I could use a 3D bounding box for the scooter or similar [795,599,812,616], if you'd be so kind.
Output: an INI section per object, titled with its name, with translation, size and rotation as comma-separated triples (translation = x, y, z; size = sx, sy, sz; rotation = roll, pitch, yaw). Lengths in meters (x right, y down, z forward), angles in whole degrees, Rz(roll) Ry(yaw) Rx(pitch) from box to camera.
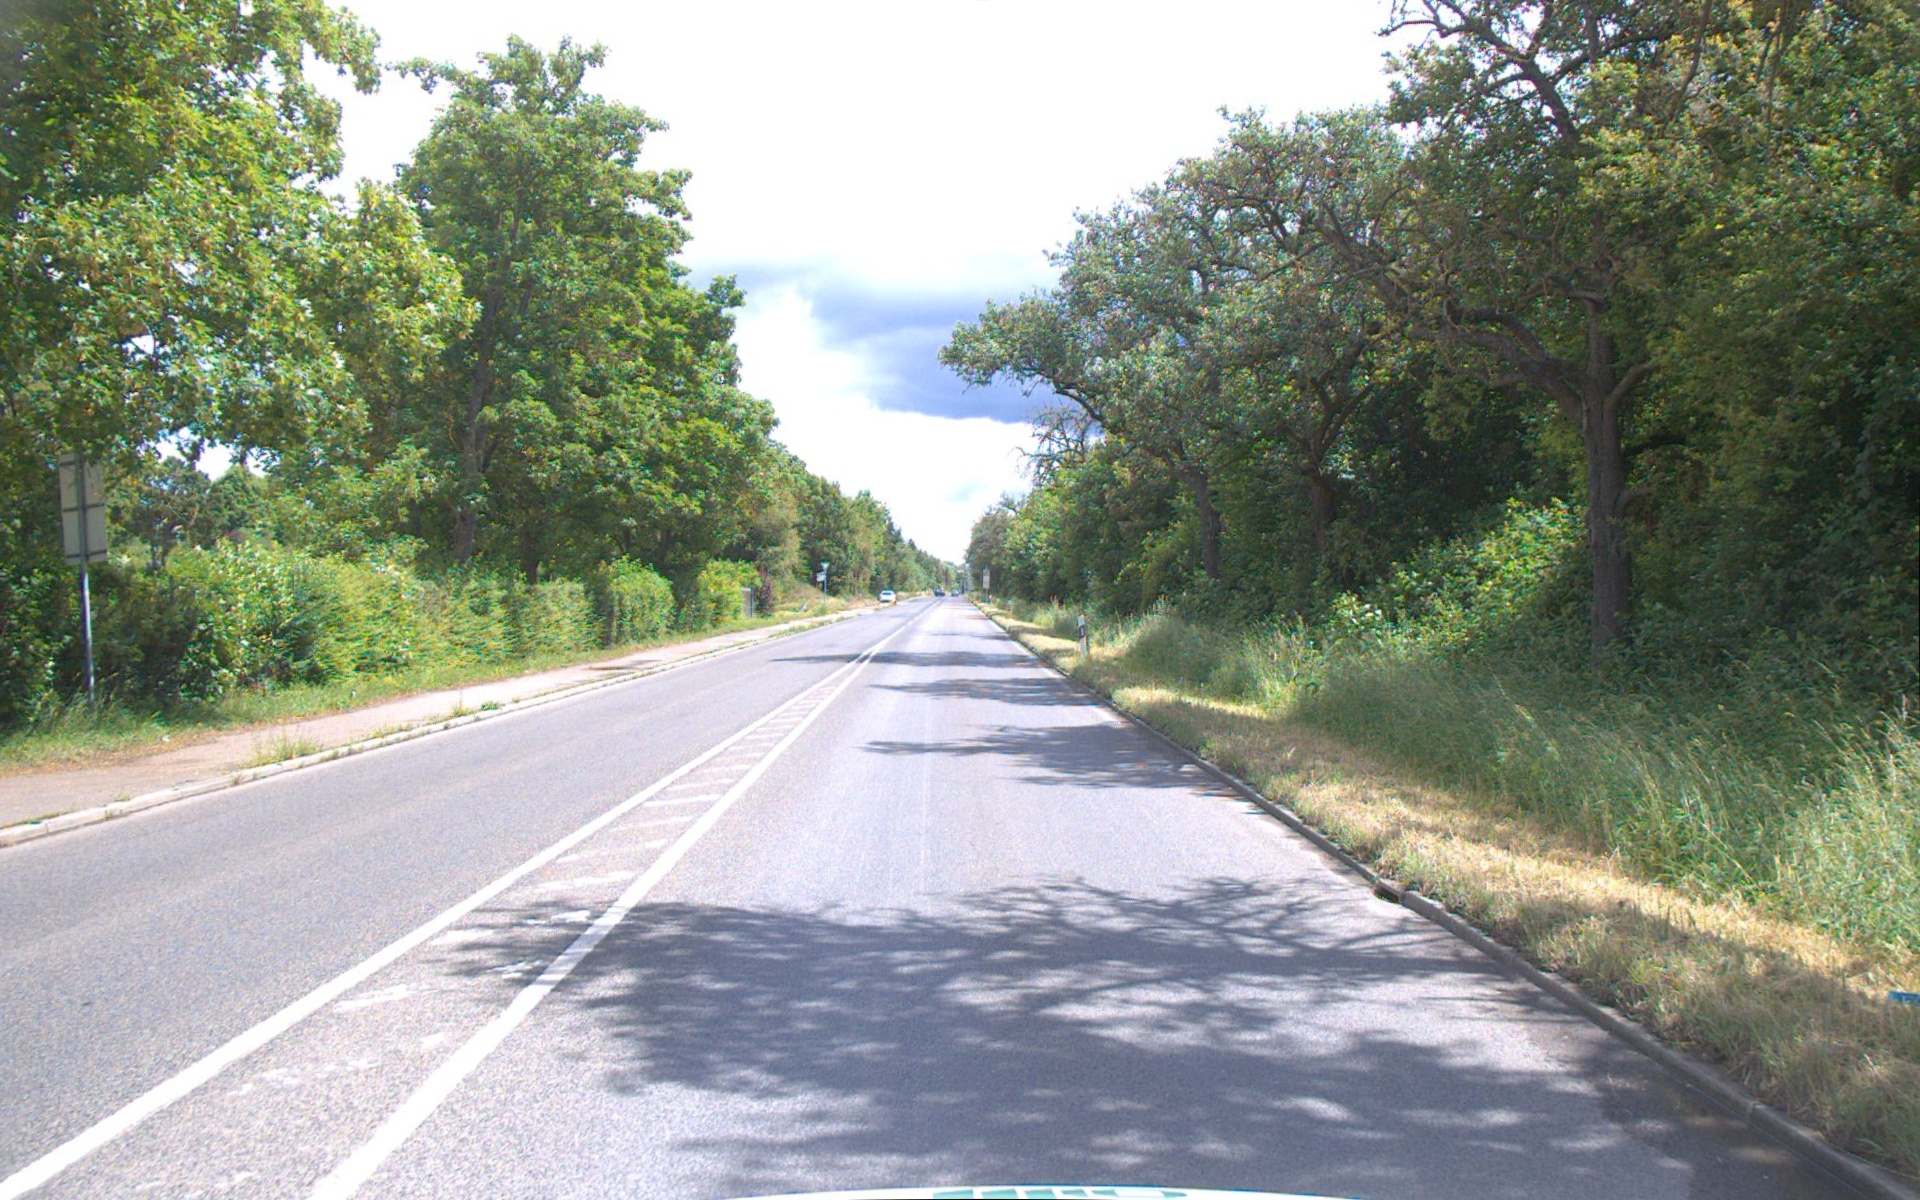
[scooter or similar]
translation = -11.175, 0.525, 118.403
size = 1.326, 1.189, 0.404
rotation = 0, 0, 41

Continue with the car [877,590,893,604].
[car]
translation = -8.735, -0.312, 192.975
size = 1.761, 1.570, 3.954
rotation = 0, -1, 0
